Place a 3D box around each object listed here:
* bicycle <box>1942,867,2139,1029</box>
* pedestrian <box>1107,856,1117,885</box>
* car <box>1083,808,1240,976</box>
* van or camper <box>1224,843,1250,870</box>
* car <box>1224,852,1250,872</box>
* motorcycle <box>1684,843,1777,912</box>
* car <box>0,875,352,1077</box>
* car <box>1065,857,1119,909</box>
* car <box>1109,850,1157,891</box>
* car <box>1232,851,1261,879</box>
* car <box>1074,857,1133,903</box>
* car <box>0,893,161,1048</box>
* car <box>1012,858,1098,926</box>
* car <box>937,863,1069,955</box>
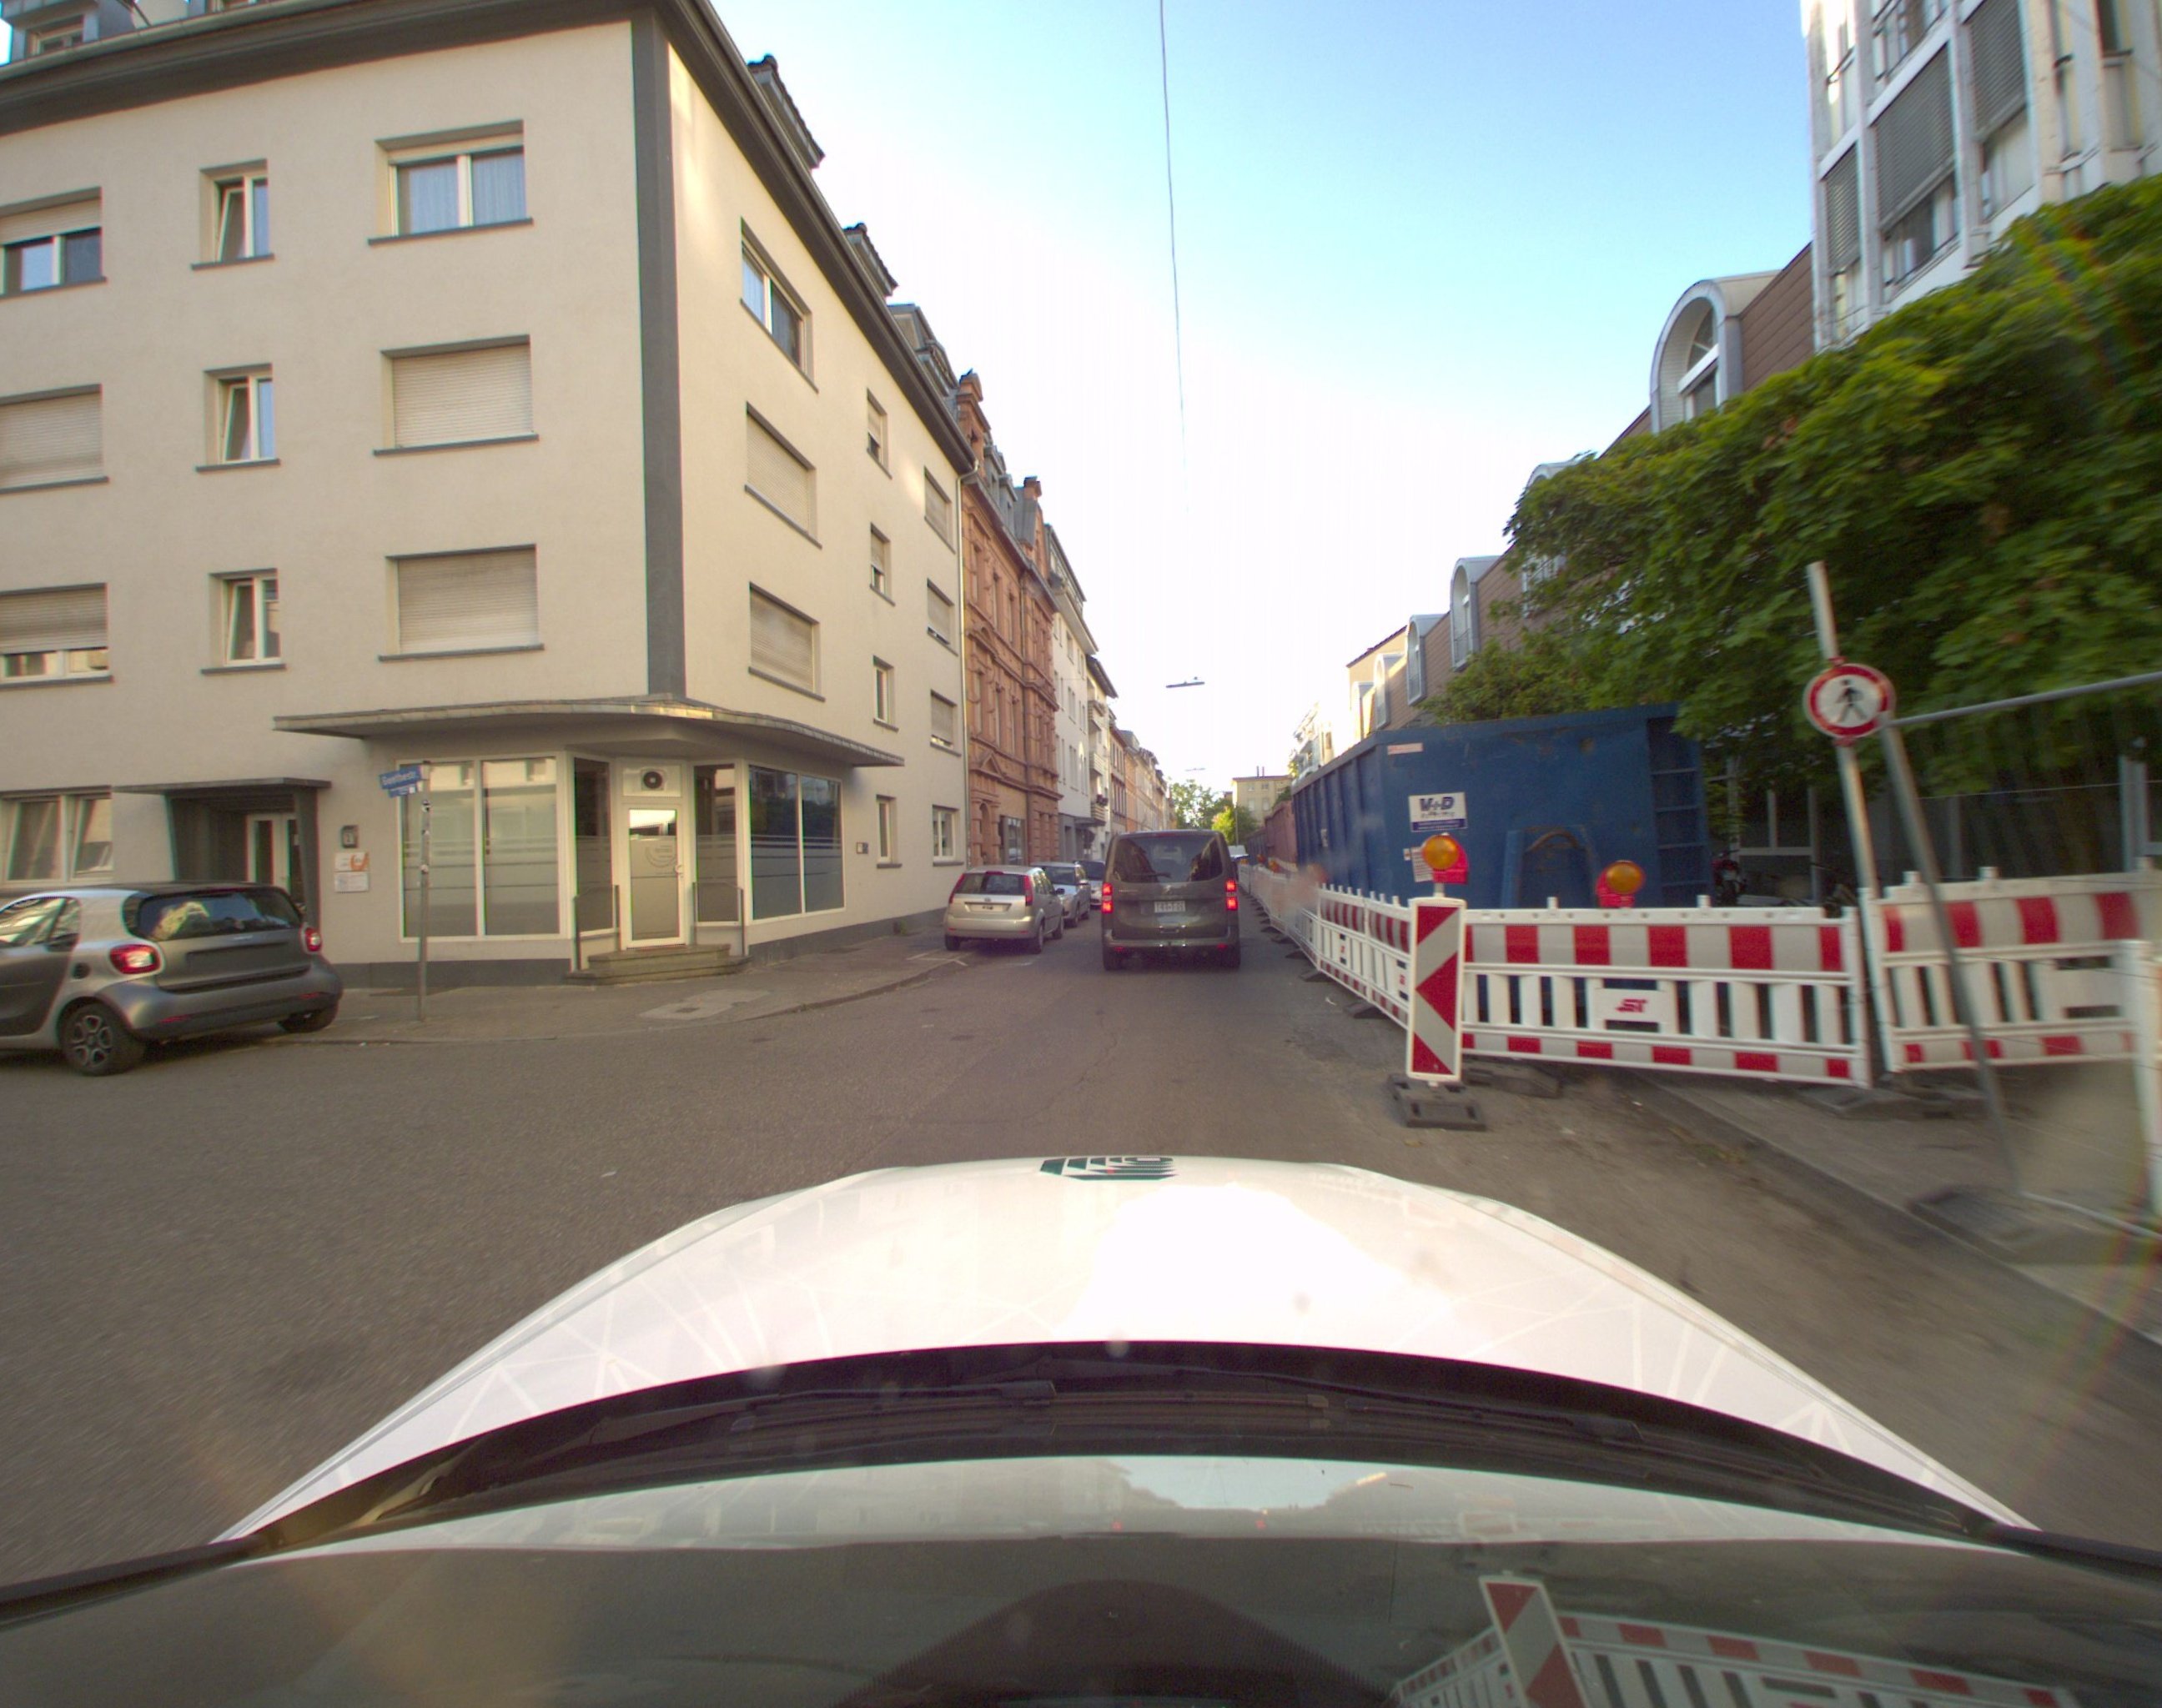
[{"bbox_3d":[7.255,0.646,6.234,0.562,1.069,1.375,-1,0,31],"label":"bicycle"},{"bbox_3d":[1.763,0.919,45.941,0.492,1.638,0.667,-1,-1,9],"label":"pedestrian"},{"bbox_3d":[1.292,0.484,12.305,1.847,2.013,4.009,-4,0,8],"label":"car"},{"bbox_3d":[16.257,0.243,85.194,2.088,2.602,7.527,-3,-1,7],"label":"van or camper"},{"bbox_3d":[13.261,0.663,69.460,1.713,1.612,4.596,-2,-1,6],"label":"car"},{"bbox_3d":[12.426,0.428,15.666,0.861,1.222,2.471,-3,-1,27],"label":"motorcycle"},{"bbox_3d":[-8.775,1.029,7.515,2.738,1.566,1.652,-2,0,9],"label":"car"},{"bbox_3d":[0.411,0.930,27.123,1.388,1.588,2.800,-2,0,8],"label":"car"},{"bbox_3d":[2.610,0.780,40.020,1.982,1.858,4.594,-2,0,7],"label":"car"},{"bbox_3d":[10.634,0.697,52.379,1.738,1.683,4.539,-1,0,11],"label":"car"},{"bbox_3d":[0.932,0.927,30.981,1.730,1.599,4.024,-2,0,8],"label":"car"},{"bbox_3d":[-12.605,1.220,8.477,4.225,1.453,1.973,-2,0,8],"label":"car"},{"bbox_3d":[-0.556,0.877,20.497,1.546,1.508,3.606,1,0,8],"label":"car"},{"bbox_3d":[-1.301,0.913,14.969,1.623,1.430,3.562,-2,0,7],"label":"car"}]
